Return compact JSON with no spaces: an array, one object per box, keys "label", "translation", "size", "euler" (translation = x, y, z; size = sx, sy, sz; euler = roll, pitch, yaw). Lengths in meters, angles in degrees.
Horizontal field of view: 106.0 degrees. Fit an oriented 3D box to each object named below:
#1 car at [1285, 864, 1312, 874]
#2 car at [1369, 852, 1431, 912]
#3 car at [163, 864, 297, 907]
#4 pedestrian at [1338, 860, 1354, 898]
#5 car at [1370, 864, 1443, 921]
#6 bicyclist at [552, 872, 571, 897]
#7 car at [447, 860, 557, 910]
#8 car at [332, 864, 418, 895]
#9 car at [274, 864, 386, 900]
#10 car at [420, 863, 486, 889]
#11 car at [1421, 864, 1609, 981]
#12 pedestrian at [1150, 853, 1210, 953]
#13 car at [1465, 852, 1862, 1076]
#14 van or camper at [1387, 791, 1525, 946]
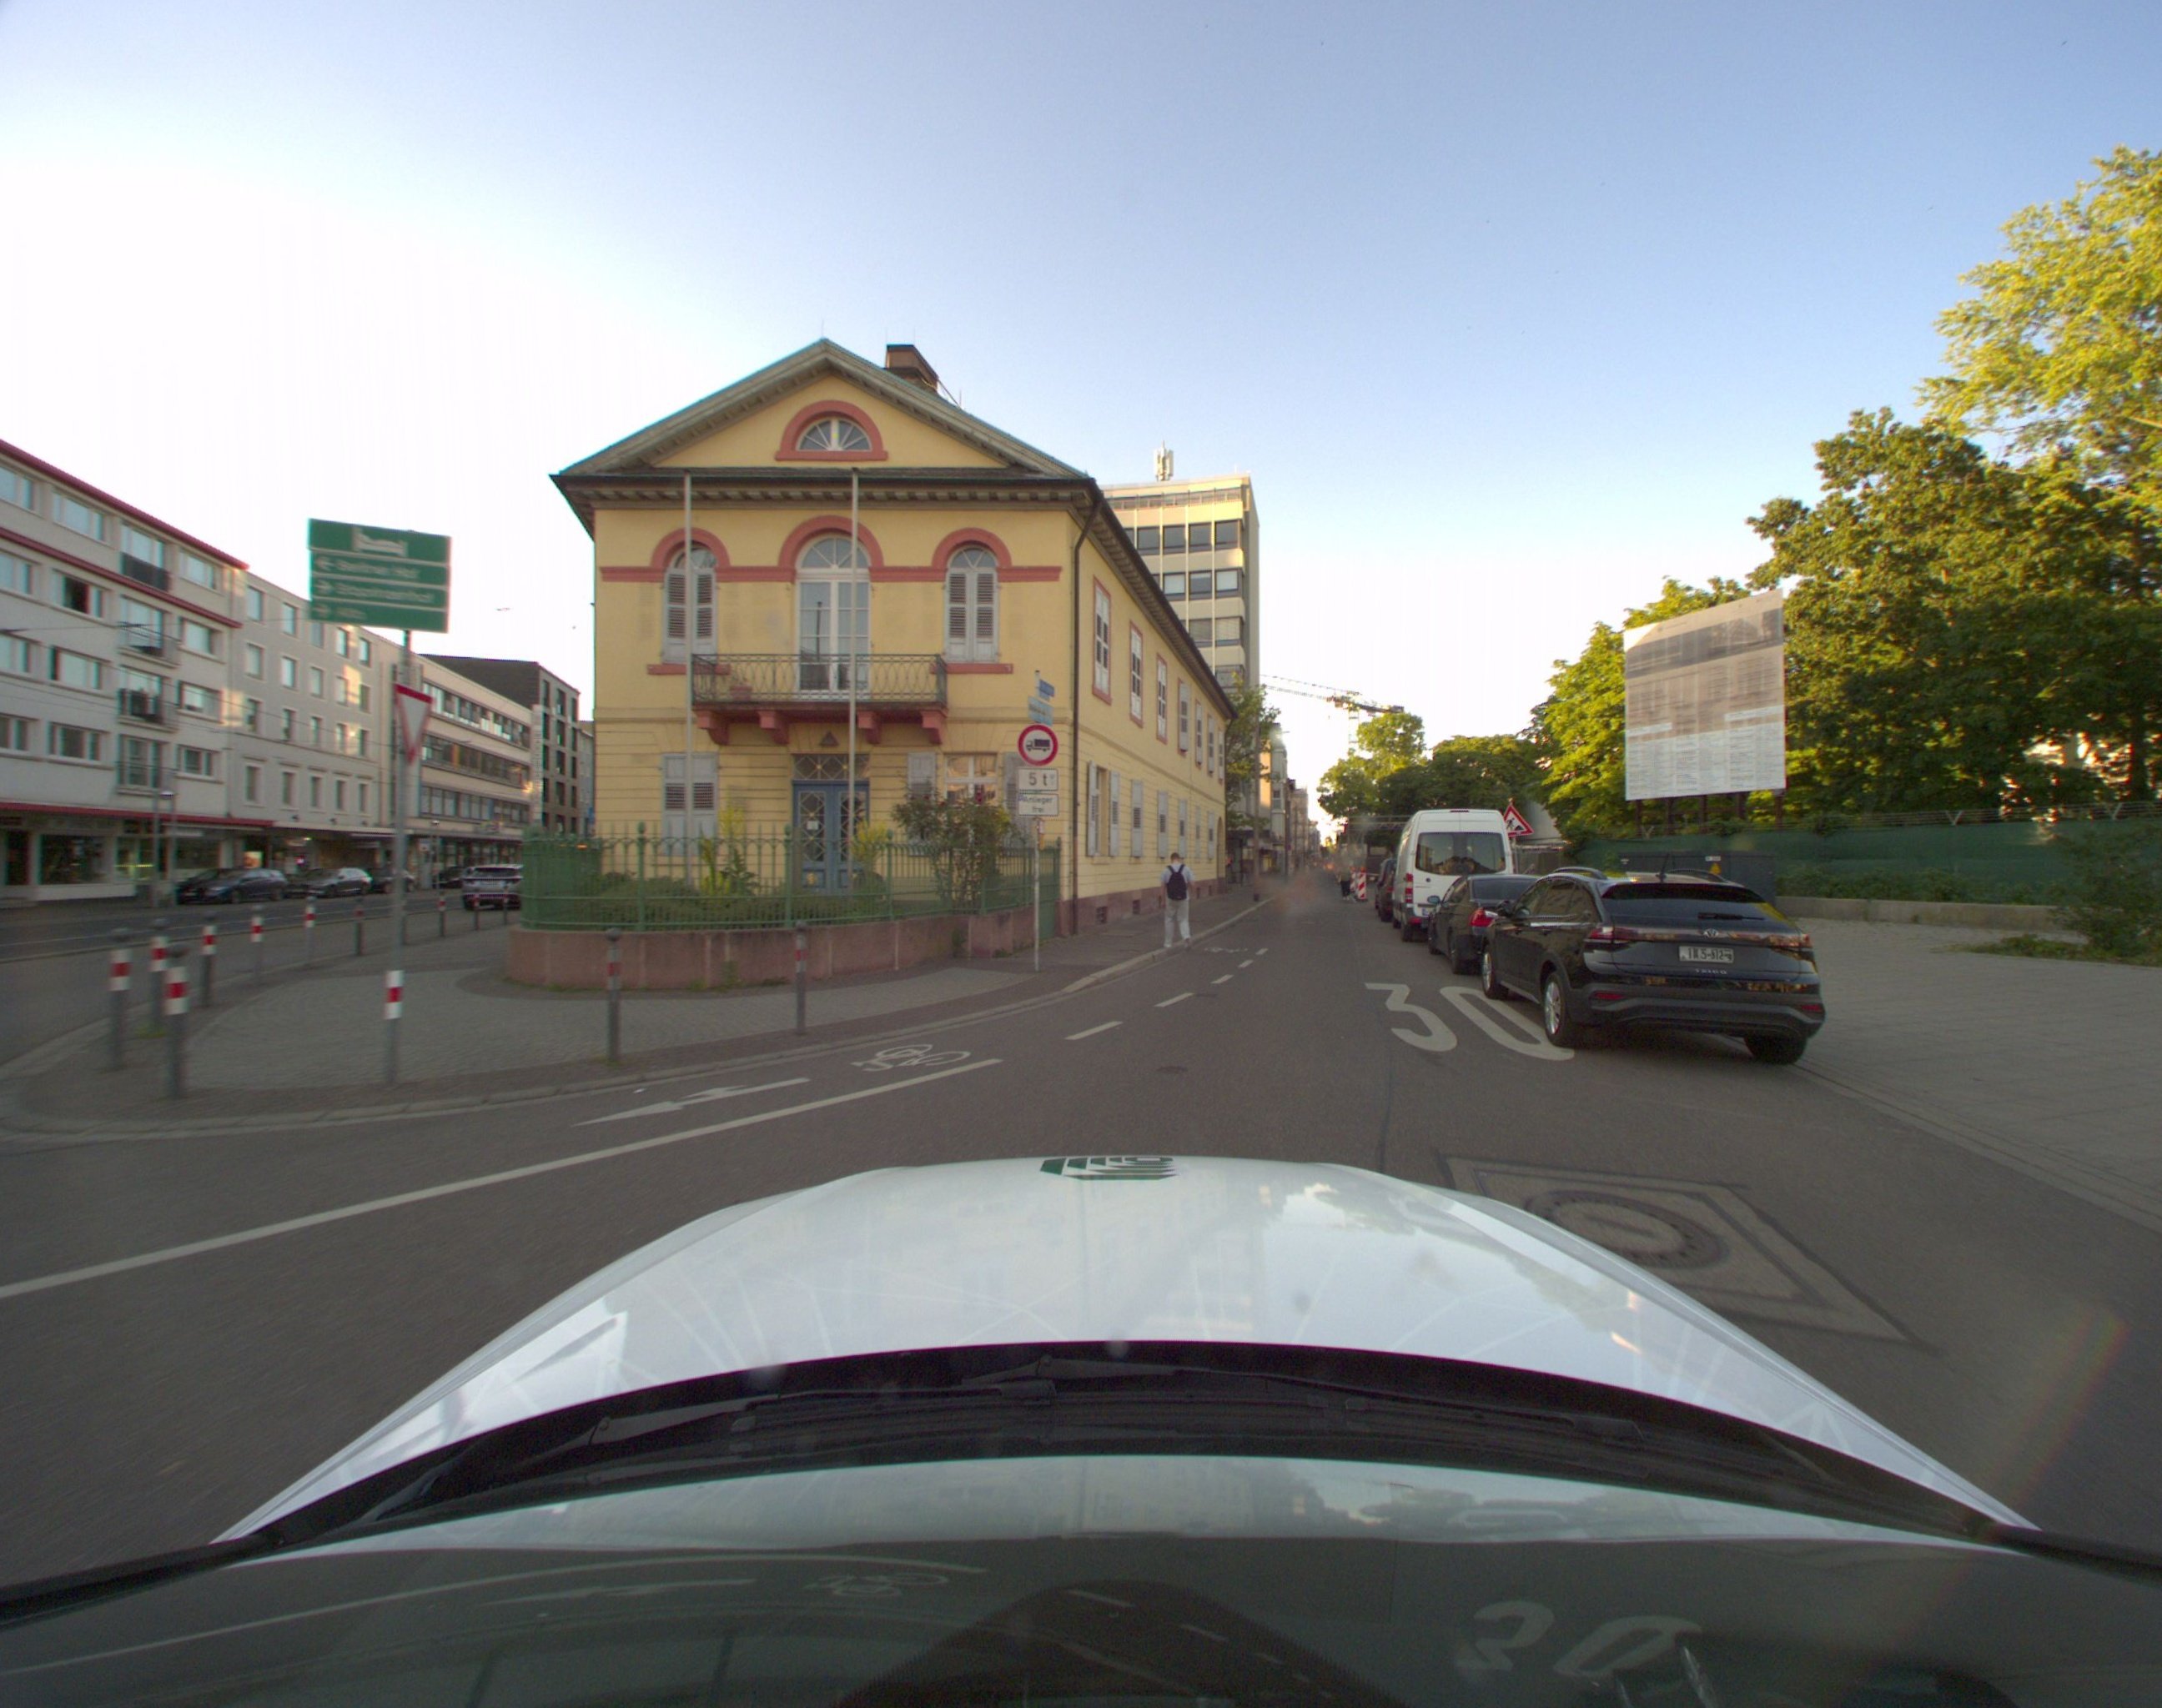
[{"label":"car","translation":[31.841,2.172,119.032],"size":[3.715,1.459,1.705],"euler":[0,-1,16]},{"label":"car","translation":[10.735,0.897,27.610],"size":[1.699,1.849,4.040],"euler":[0,-1,18]},{"label":"car","translation":[-35.196,1.259,33.860],"size":[1.996,1.666,3.981],"euler":[0,-1,-14]},{"label":"pedestrian","translation":[11.539,1.064,35.456],"size":[0.608,1.629,0.822],"euler":[0,-1,20]},{"label":"car","translation":[9.234,1.034,23.356],"size":[1.678,1.459,4.117],"euler":[0,-1,18]},{"label":"bicyclist","translation":[-43.880,2.570,68.795],"size":[1.170,2.014,1.038],"euler":[0,-1,-20]},{"label":"car","translation":[-20.884,1.106,29.608],"size":[1.949,1.661,4.507],"euler":[1,-1,-18]},{"label":"car","translation":[-39.141,1.377,45.296],"size":[1.996,1.666,3.981],"euler":[0,-1,-14]},{"label":"car","translation":[-36.485,1.307,39.739],"size":[1.996,1.665,4.616],"euler":[0,-1,-14]},{"label":"car","translation":[-41.608,1.443,54.113],"size":[1.996,1.665,3.981],"euler":[0,-1,-14]},{"label":"car","translation":[6.365,0.881,12.462],"size":[1.715,1.429,4.493],"euler":[0,-1,17]},{"label":"pedestrian","translation":[1.769,0.845,14.506],"size":[0.869,1.724,0.834],"euler":[0,-1,21]},{"label":"car","translation":[5.108,0.786,7.927],"size":[1.765,1.543,4.308],"euler":[0,-1,15]},{"label":"van or camper","translation":[7.981,0.311,17.946],"size":[2.060,2.775,6.480],"euler":[0,-1,19]}]
